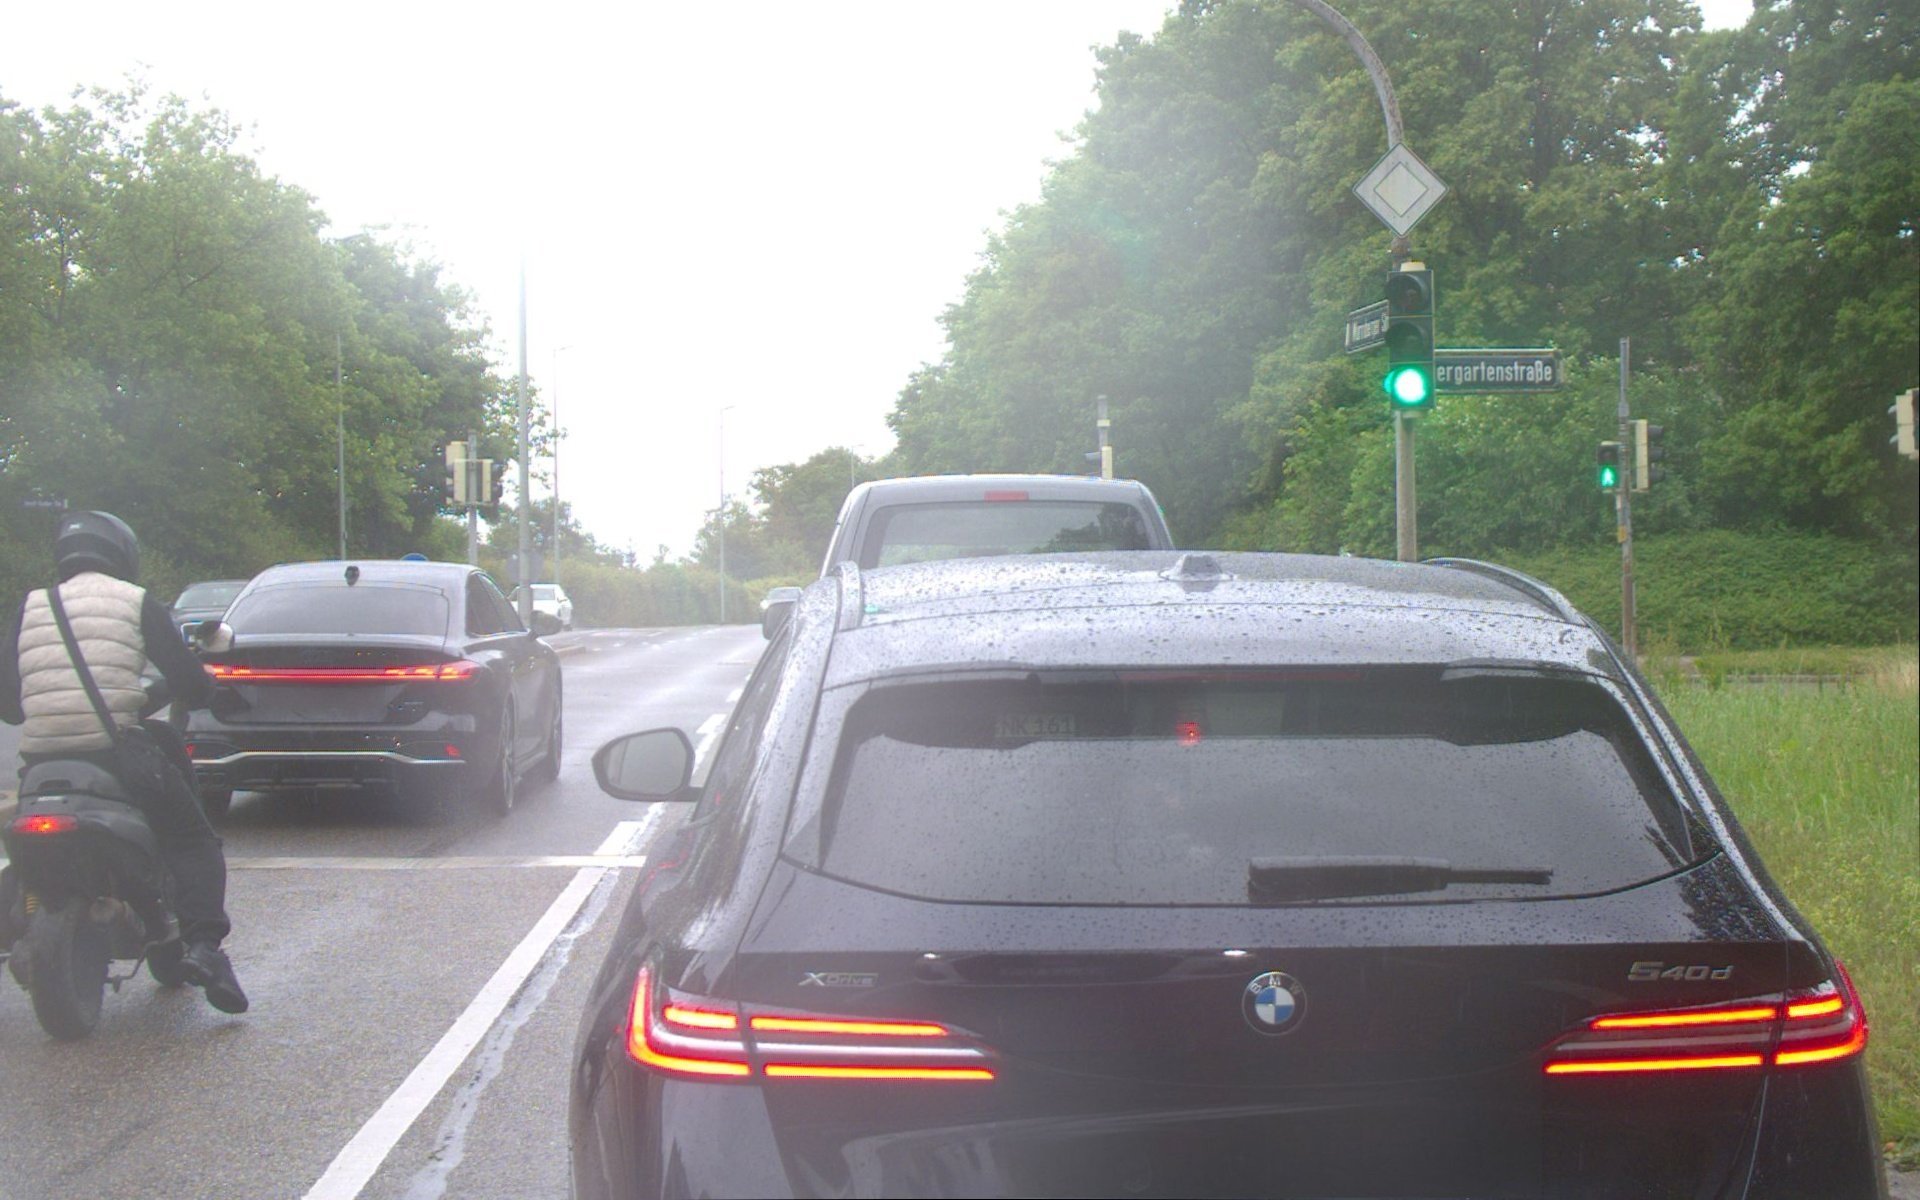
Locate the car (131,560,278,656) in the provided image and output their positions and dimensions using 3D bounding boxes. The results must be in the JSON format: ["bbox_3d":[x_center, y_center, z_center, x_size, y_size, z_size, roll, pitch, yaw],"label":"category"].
[{"bbox_3d":[-12.682,0.105,57.900,1.862,1.487,3.834,-2,1,-4],"label":"car"}]

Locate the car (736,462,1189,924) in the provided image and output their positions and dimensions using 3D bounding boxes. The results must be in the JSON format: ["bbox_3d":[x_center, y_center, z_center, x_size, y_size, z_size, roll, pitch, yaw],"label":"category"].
[{"bbox_3d":[-0.013,0.319,15.425,1.767,1.804,3.905,0,1,-1],"label":"car"}]

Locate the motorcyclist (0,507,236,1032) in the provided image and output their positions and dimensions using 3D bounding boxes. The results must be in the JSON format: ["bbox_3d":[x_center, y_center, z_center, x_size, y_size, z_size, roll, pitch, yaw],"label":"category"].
[{"bbox_3d":[-2.791,0.528,10.995,0.845,1.641,0.468,0,1,-1],"label":"motorcyclist"}]

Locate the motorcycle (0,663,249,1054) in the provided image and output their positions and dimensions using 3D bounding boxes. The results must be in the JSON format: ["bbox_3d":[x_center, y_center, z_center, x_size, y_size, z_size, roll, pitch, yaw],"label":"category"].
[{"bbox_3d":[-2.794,0.789,11.033,0.741,1.116,1.426,0,1,-1],"label":"motorcycle"}]

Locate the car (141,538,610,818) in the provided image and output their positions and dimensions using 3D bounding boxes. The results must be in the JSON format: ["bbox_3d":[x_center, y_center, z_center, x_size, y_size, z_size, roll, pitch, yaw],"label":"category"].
[{"bbox_3d":[-3.252,0.363,20.034,2.014,1.410,4.487,0,1,-1],"label":"car"}]

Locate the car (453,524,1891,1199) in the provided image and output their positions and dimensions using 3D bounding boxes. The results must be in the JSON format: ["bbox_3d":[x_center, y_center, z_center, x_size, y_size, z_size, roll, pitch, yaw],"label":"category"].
[{"bbox_3d":[0.239,0.665,6.063,1.764,1.531,3.673,0,0,-1],"label":"car"}]

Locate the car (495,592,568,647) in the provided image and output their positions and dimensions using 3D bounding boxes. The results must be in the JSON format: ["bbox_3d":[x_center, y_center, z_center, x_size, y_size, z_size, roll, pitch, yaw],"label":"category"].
[{"bbox_3d":[-12.942,0.572,103.938,1.727,1.480,4.157,-2,1,-2],"label":"car"}]
